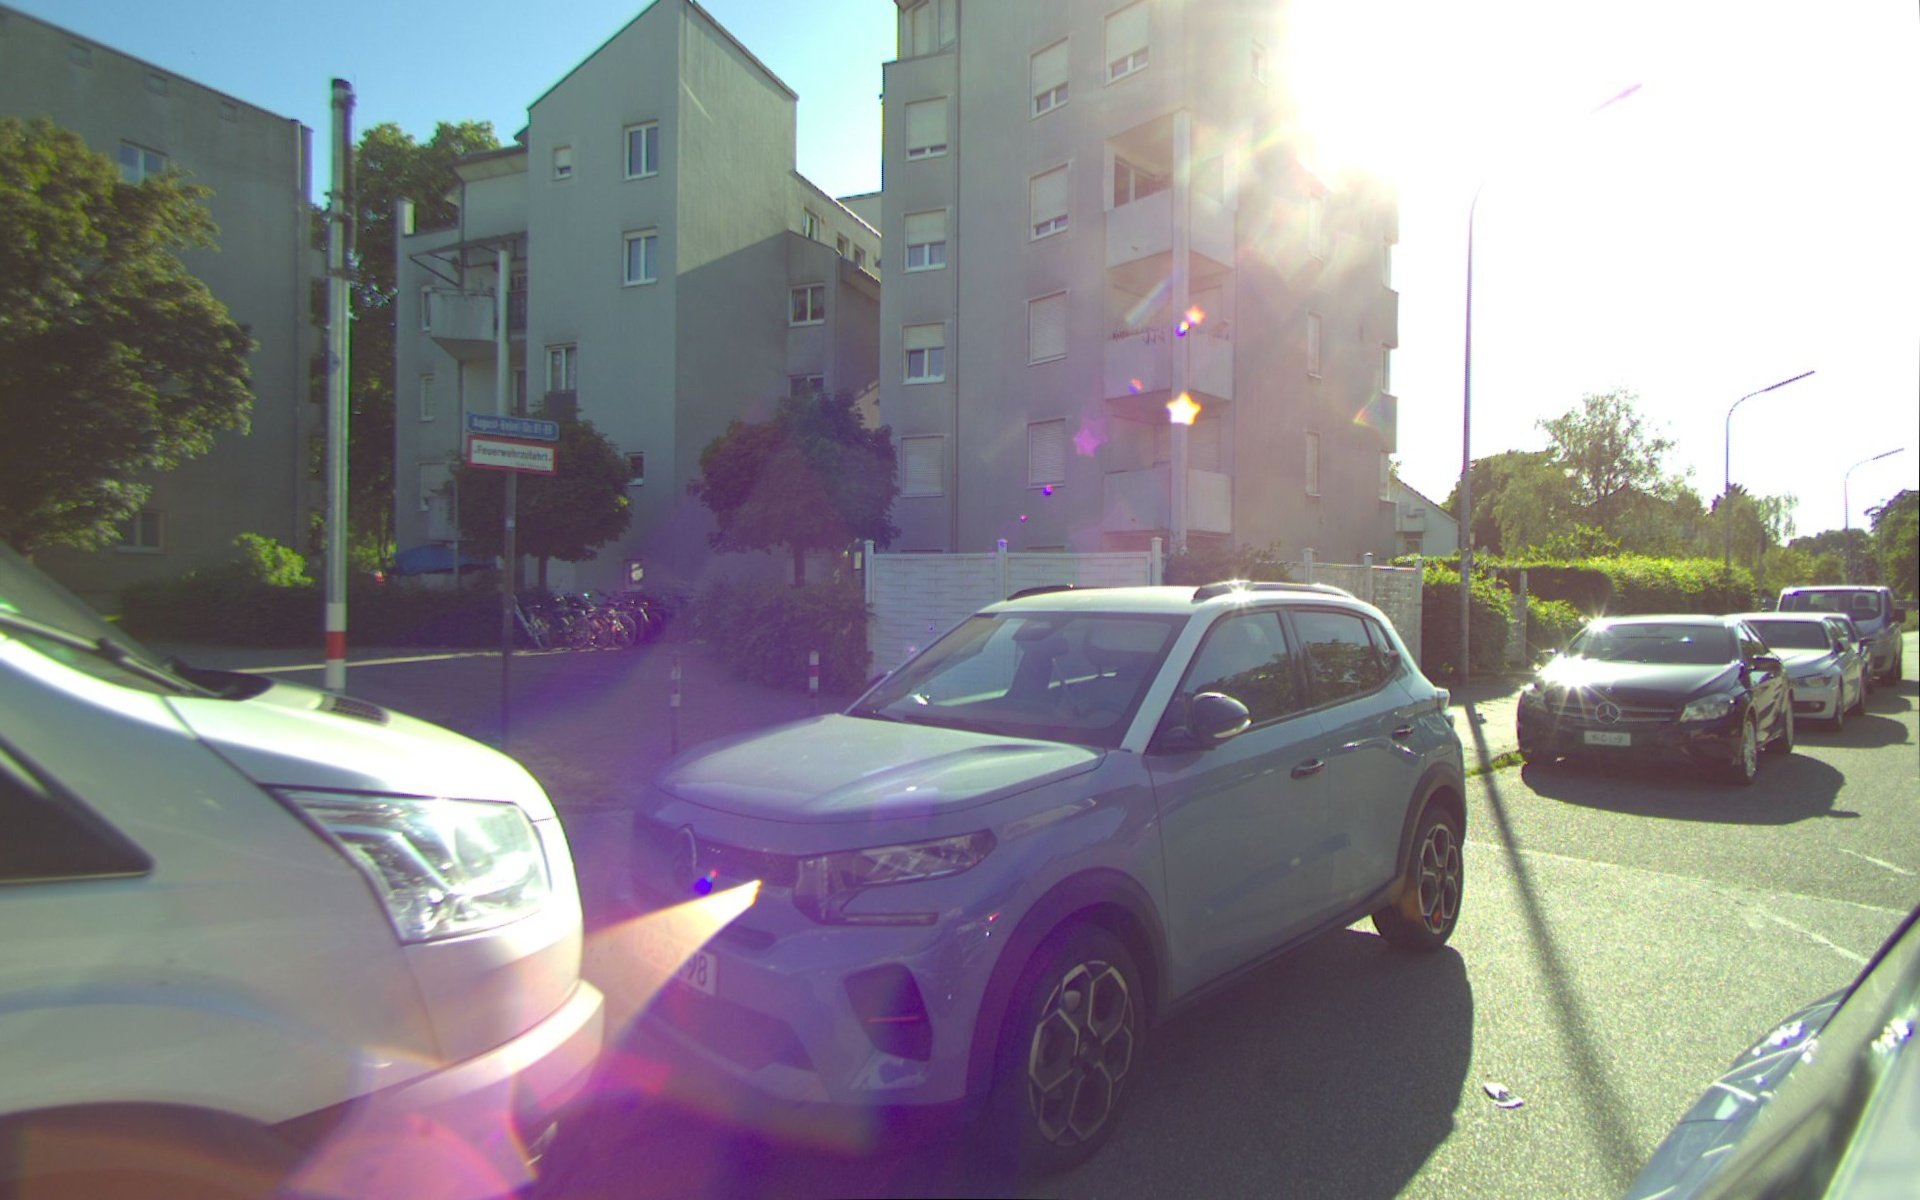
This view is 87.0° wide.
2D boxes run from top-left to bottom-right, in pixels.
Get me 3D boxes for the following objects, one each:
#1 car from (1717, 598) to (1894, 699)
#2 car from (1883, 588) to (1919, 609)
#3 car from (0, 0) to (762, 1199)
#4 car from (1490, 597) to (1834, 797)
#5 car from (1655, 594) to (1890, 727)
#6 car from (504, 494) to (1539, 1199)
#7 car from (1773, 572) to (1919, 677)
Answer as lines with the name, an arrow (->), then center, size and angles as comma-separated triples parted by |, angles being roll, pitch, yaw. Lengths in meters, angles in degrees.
car -> 14.611, 0.714, 17.379 | 1.994, 1.435, 4.845 | 2, 1, 44
car -> 80.967, -0.158, 85.801 | 3.592, 1.738, 1.743 | 1, 1, 10
car -> -3.235, 0.241, 0.850 | 5.751, 2.518, 2.109 | 0, -1, -40
car -> 7.060, 0.742, 9.998 | 4.301, 1.507, 1.912 | 0, 1, -43
car -> 11.260, 0.696, 13.916 | 4.301, 1.507, 1.912 | 0, 1, -43
car -> 0.642, 0.602, 4.258 | 4.301, 1.687, 1.912 | 0, 1, -43
car -> 18.594, 0.424, 21.111 | 4.872, 1.936, 1.995 | 0, 1, -45
